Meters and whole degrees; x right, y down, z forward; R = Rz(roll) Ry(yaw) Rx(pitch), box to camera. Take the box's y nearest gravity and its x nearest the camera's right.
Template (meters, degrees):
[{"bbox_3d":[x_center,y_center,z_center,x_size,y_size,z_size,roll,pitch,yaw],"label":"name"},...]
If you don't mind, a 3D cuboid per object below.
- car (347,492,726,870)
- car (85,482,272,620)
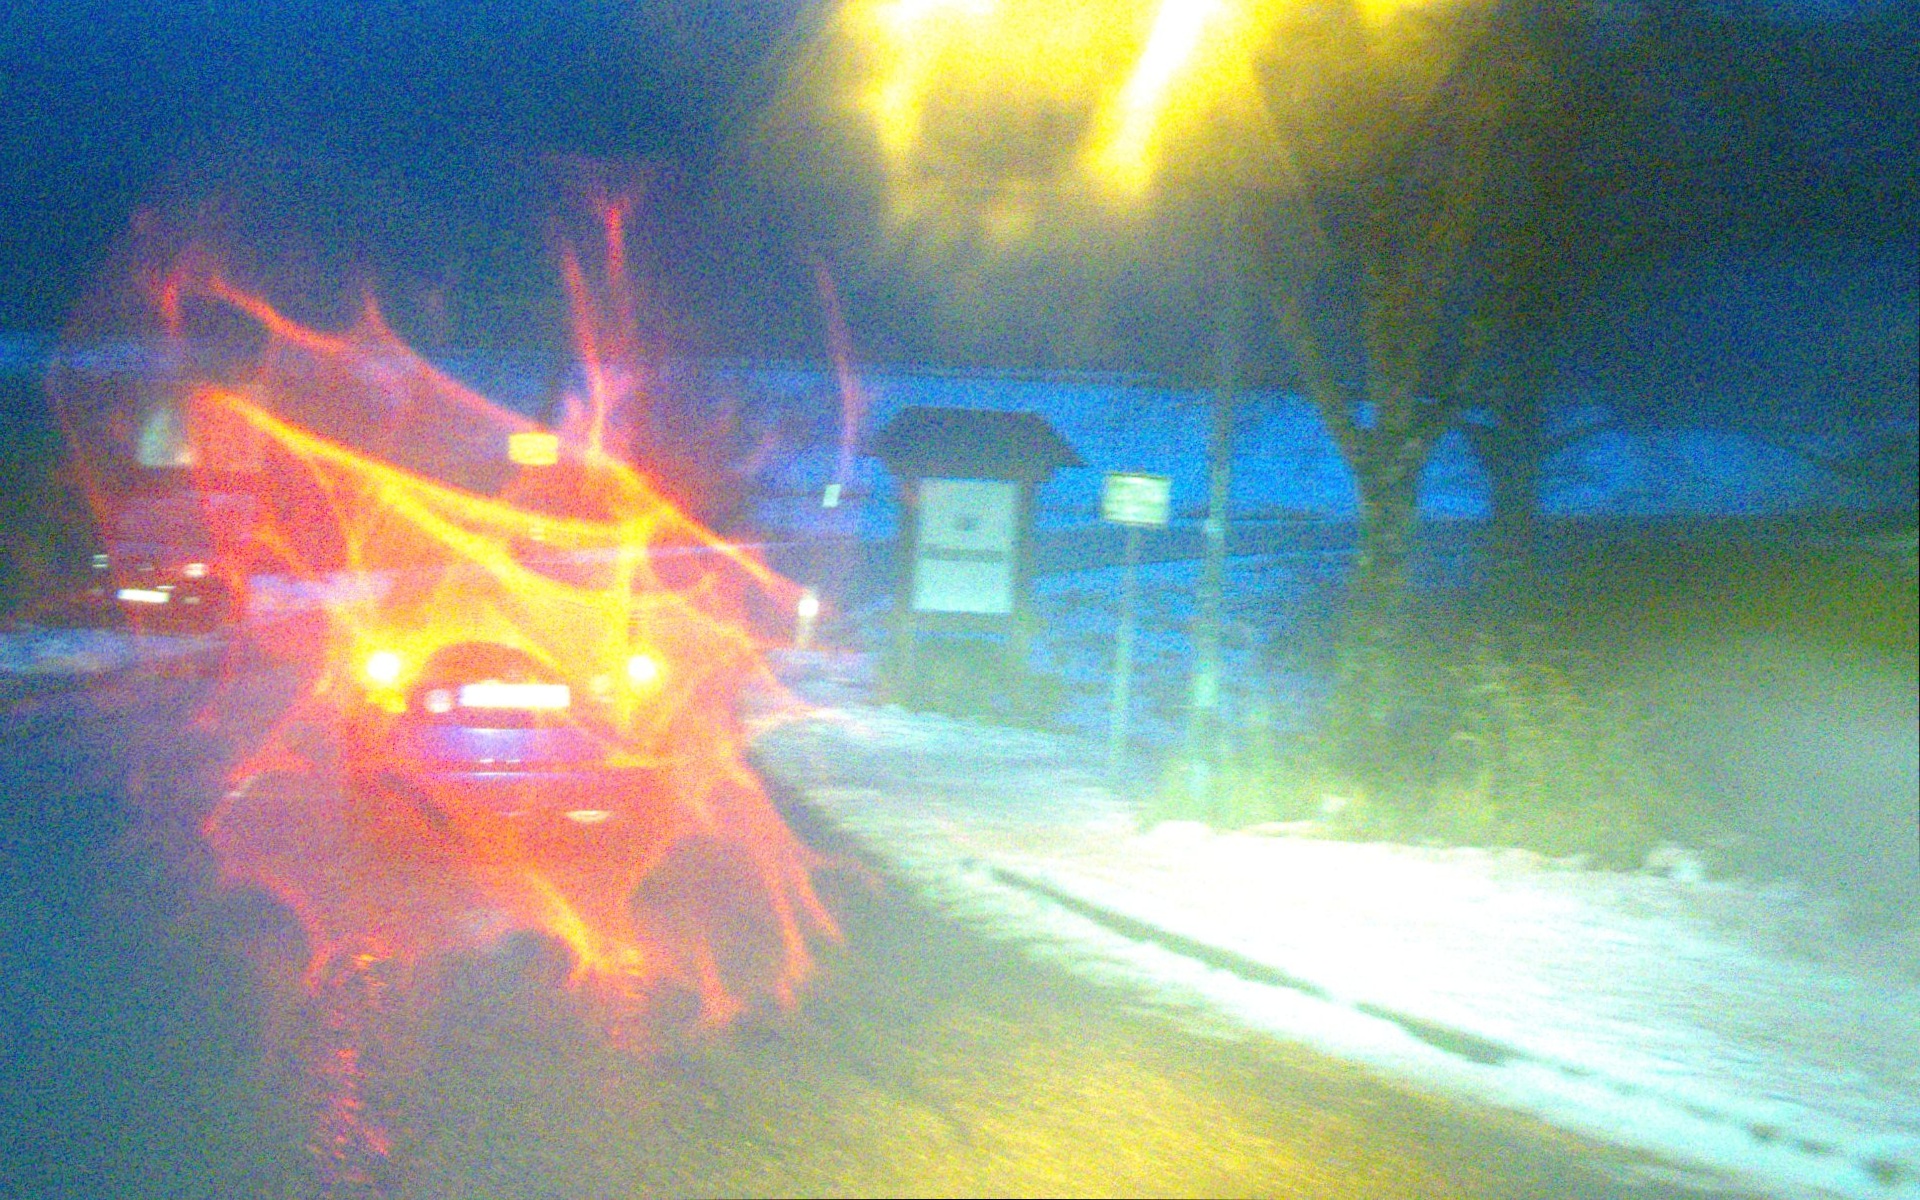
[{"bbox_3d":[-2.370,0.336,18.612,1.822,1.790,3.579,-1,2,-10],"label":"car"},{"bbox_3d":[-9.764,-0.654,43.183,1.718,1.529,3.518,3,3,-4],"label":"car"}]
